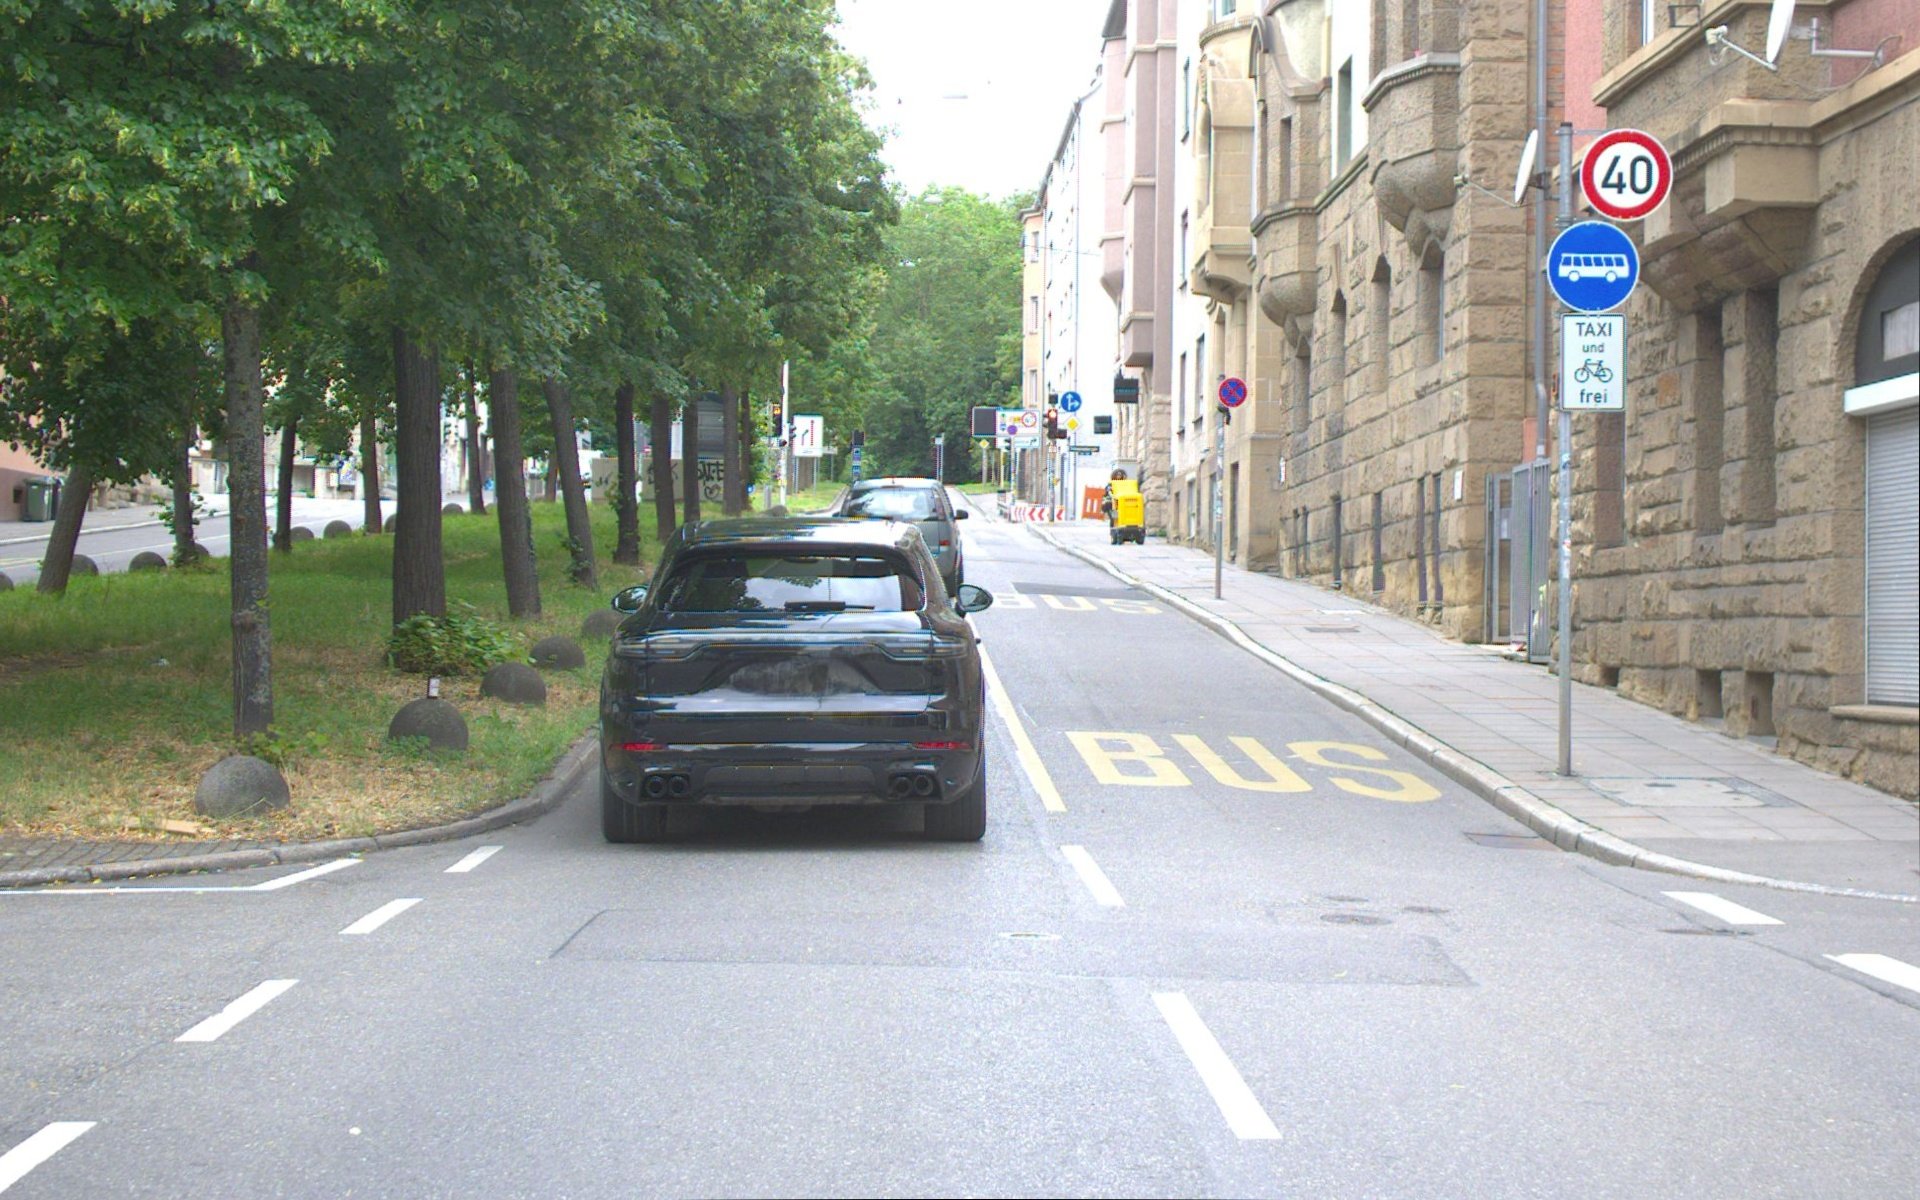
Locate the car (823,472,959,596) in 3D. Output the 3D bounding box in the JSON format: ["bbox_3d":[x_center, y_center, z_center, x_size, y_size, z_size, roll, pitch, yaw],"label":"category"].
[{"bbox_3d":[-0.981,-0.943,47.592,1.752,1.587,3.631,2,2,-2],"label":"car"}]

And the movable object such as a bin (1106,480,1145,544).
[{"bbox_3d":[3.716,-1.979,77.309,0.719,1.416,1.694,0,1,-3],"label":"movable object such as a bin"}]

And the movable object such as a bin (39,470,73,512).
[{"bbox_3d":[-19.765,-2.391,75.162,0.609,0.901,0.602,2,2,-5],"label":"movable object such as a bin"}]

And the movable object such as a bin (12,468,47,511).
[{"bbox_3d":[-19.765,-2.351,73.026,0.609,0.901,0.602,2,2,-5],"label":"movable object such as a bin"}]

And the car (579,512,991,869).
[{"bbox_3d":[-0.860,0.391,18.687,1.994,1.647,4.001,0,3,0],"label":"car"}]
